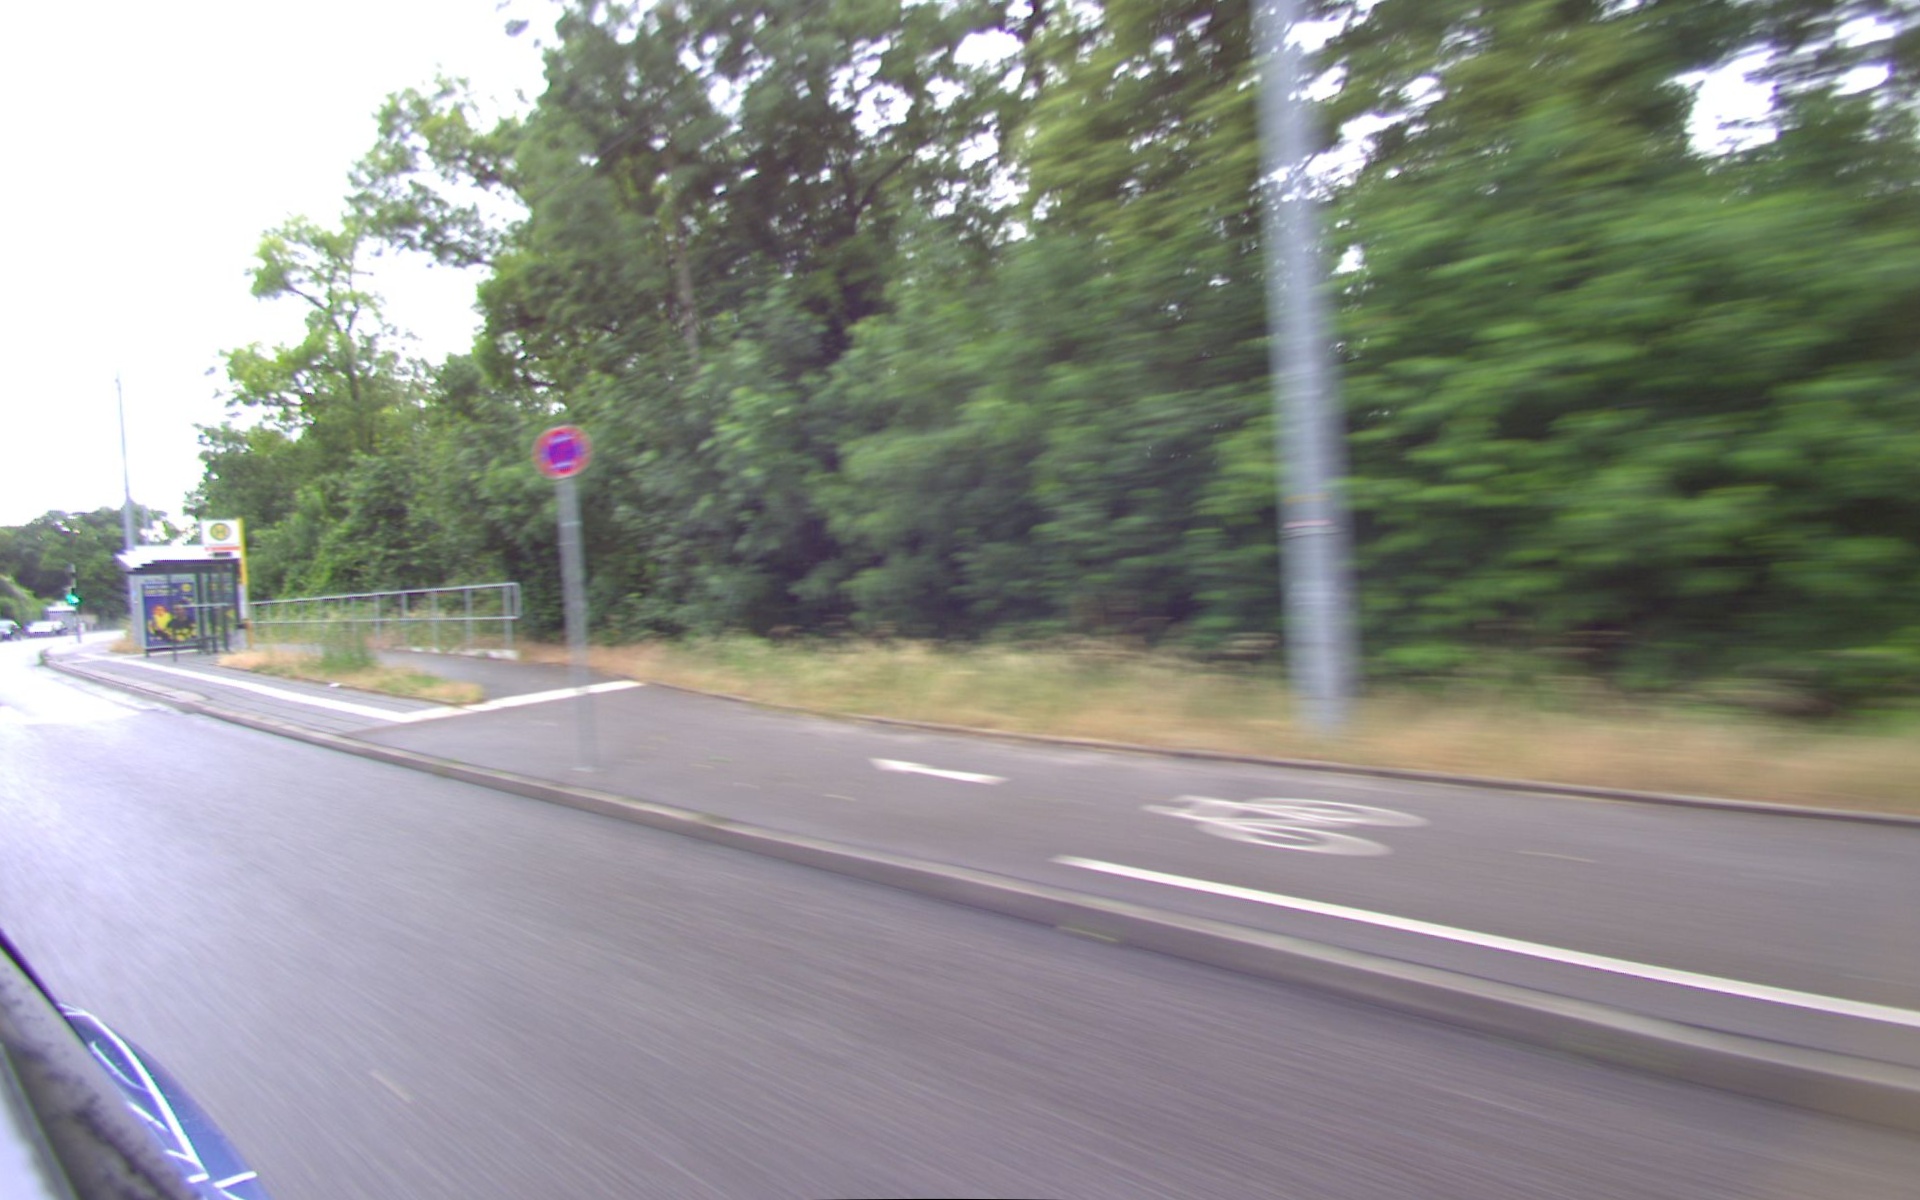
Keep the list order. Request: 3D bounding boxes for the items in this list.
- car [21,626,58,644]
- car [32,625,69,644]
[{"bbox_3d":[-85.511,3.250,94.079,1.788,1.408,4.114,-3,2,-32],"label":"car"},{"bbox_3d":[-88.045,3.306,97.998,1.805,1.559,4.643,-3,2,-32],"label":"car"}]
